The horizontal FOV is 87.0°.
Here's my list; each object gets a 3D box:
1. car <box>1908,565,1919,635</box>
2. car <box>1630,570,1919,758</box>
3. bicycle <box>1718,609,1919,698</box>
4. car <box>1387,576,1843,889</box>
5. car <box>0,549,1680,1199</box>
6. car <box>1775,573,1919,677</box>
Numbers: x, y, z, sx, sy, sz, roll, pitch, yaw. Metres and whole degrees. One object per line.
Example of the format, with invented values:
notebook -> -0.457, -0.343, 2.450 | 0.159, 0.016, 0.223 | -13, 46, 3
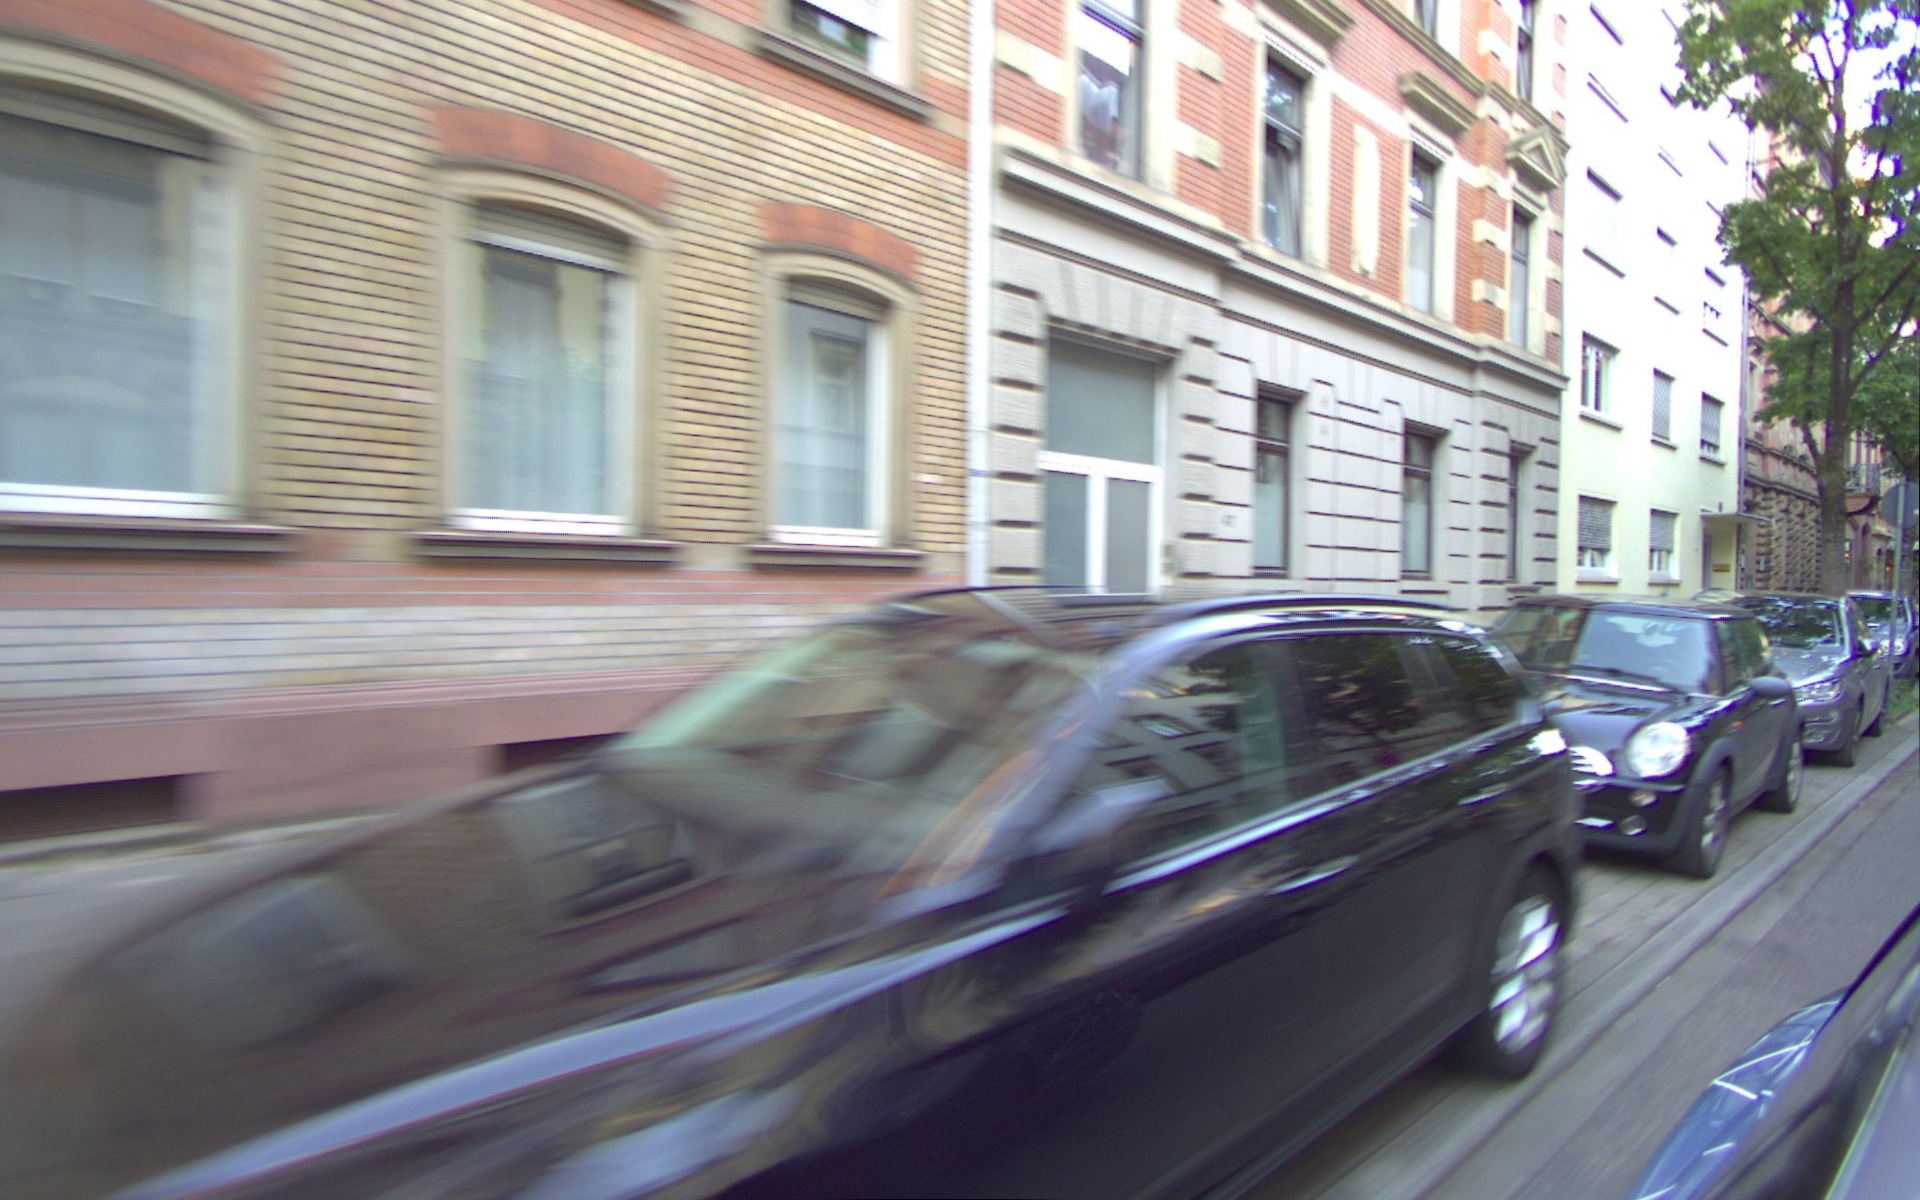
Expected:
car -> 27.705, 0.030, 27.736 | 4.727, 1.855, 2.018 | -1, 3, -42
car -> 8.473, 0.487, 10.359 | 4.295, 1.494, 1.719 | -1, 3, -43
bicycle -> 10.511, 0.624, 12.360 | 1.904, 0.994, 0.632 | 1, 1, 28
car -> 4.358, 0.591, 6.535 | 3.504, 1.441, 1.638 | -1, 2, -43
car -> 0.239, 0.637, 2.741 | 4.396, 1.432, 1.770 | -1, 3, -41
car -> 14.793, 0.330, 16.447 | 4.234, 1.481, 1.761 | 0, 2, -42
